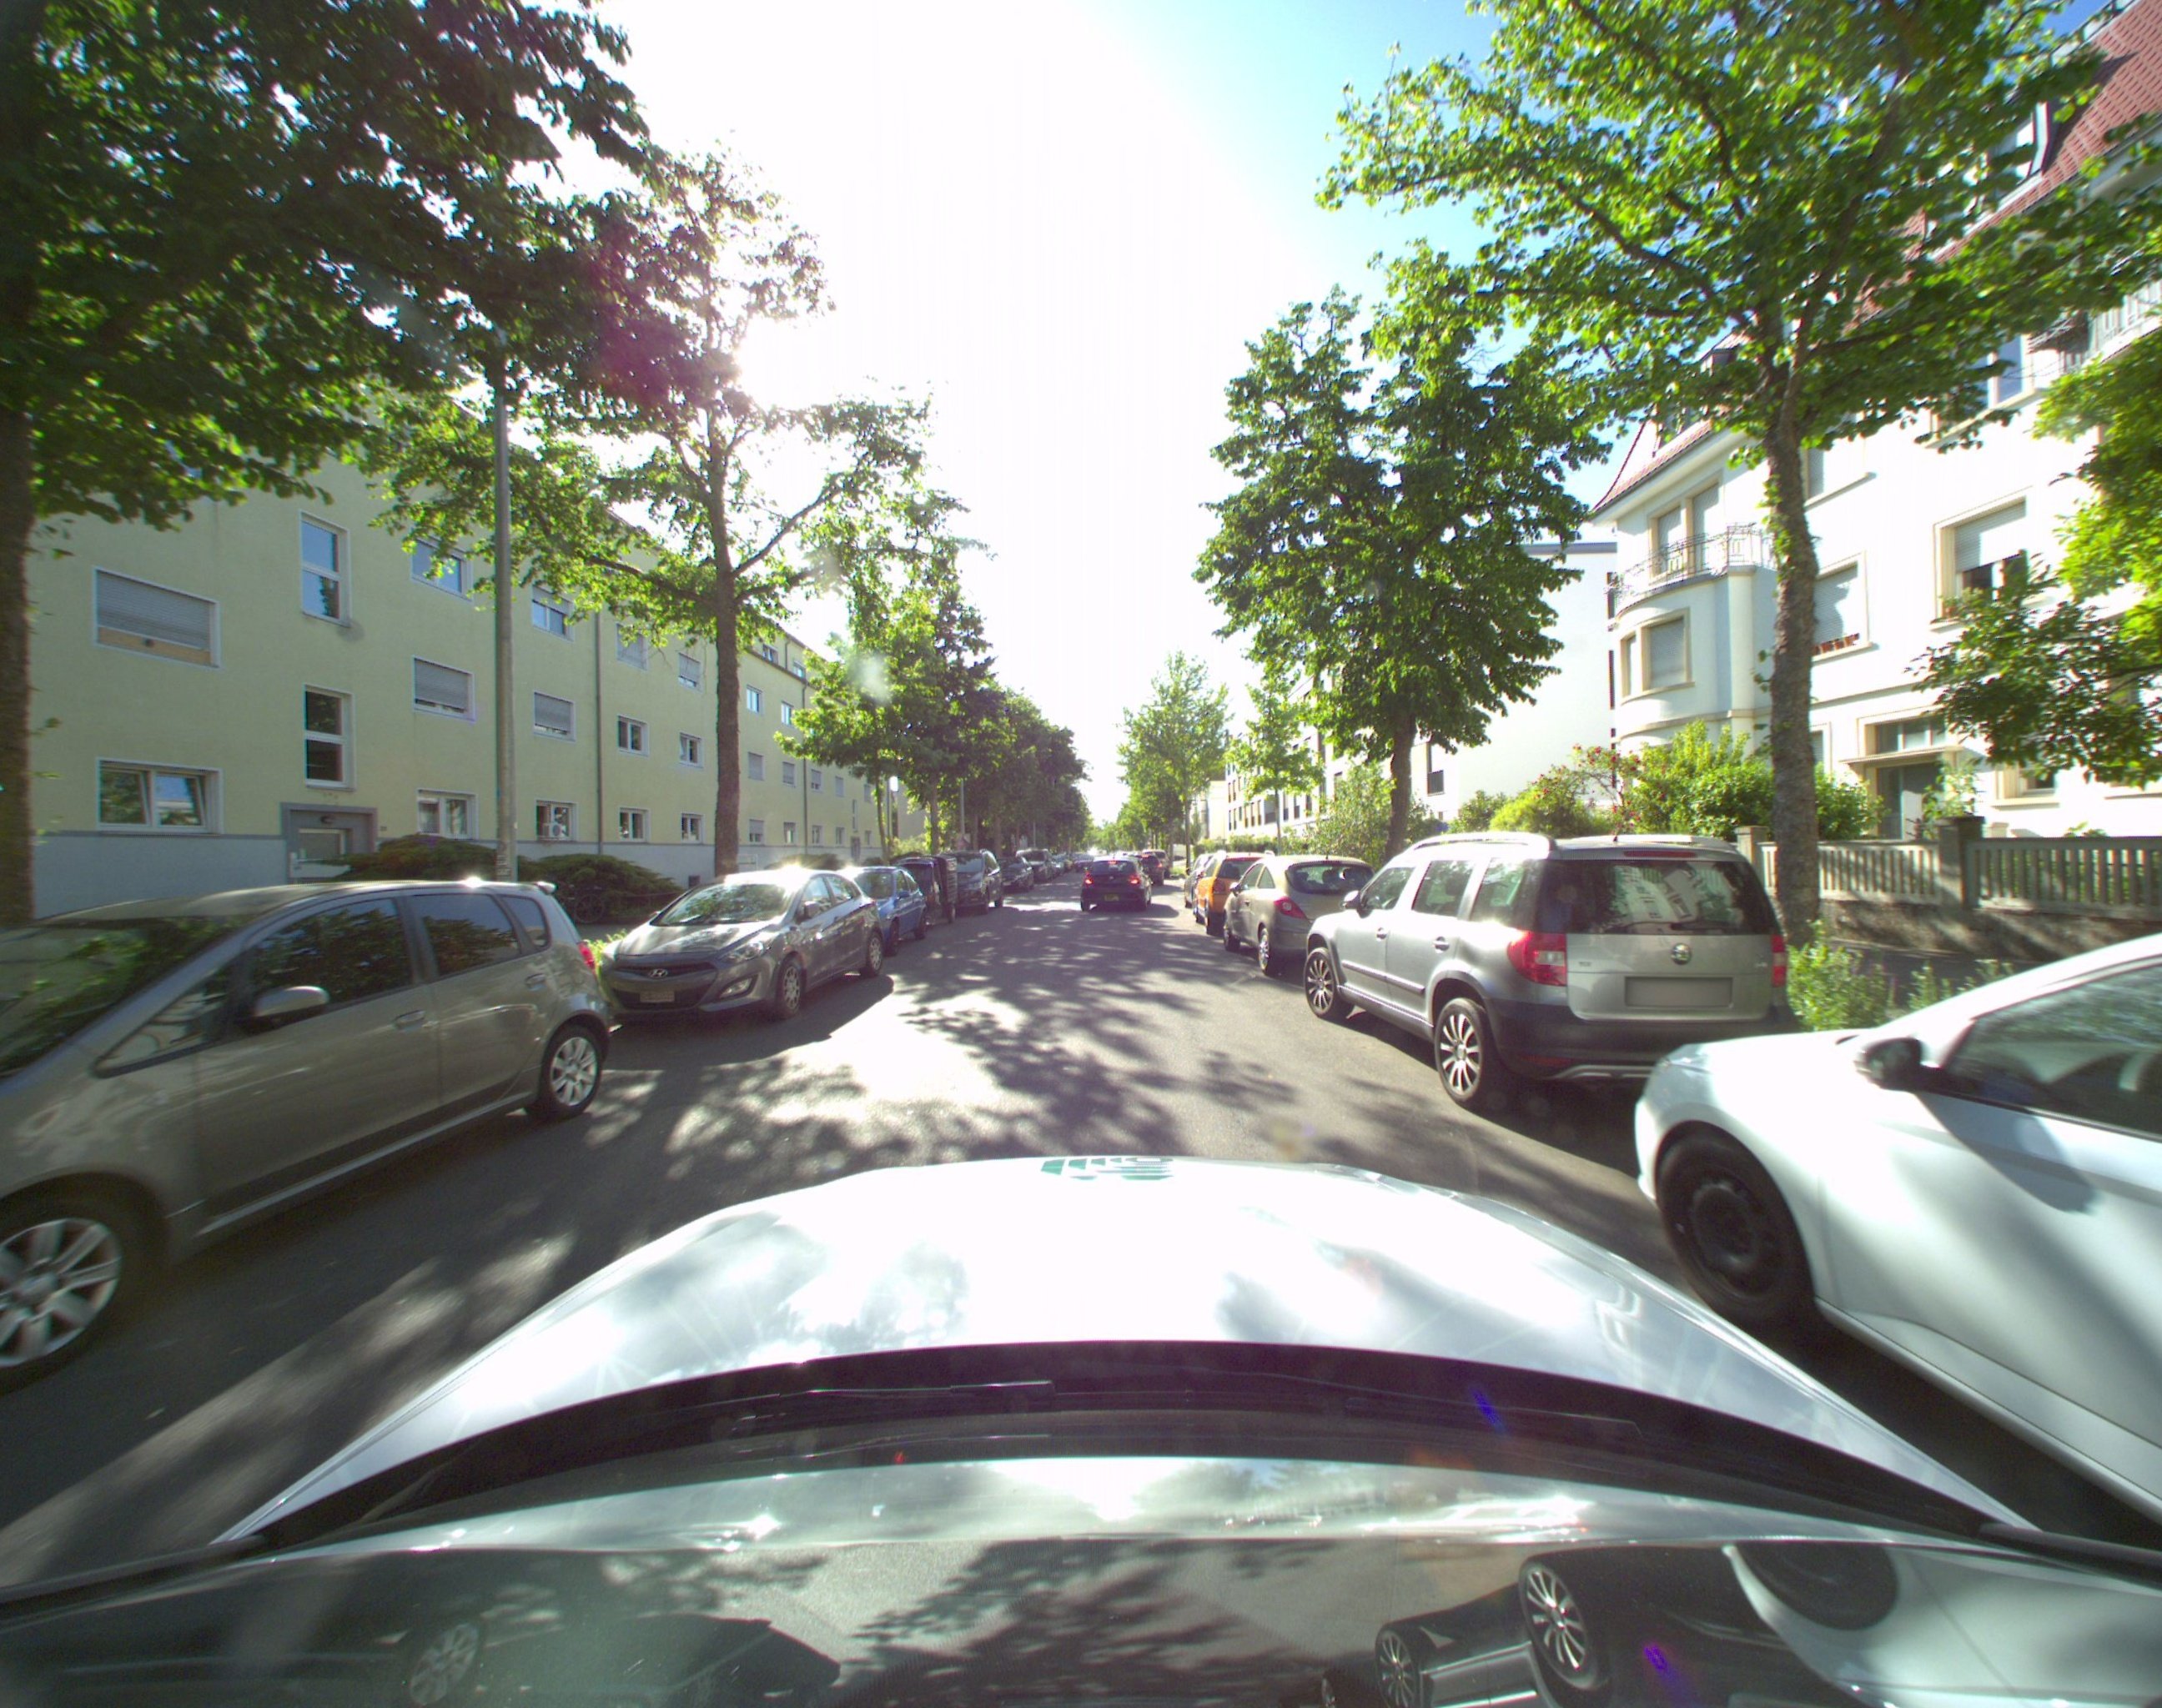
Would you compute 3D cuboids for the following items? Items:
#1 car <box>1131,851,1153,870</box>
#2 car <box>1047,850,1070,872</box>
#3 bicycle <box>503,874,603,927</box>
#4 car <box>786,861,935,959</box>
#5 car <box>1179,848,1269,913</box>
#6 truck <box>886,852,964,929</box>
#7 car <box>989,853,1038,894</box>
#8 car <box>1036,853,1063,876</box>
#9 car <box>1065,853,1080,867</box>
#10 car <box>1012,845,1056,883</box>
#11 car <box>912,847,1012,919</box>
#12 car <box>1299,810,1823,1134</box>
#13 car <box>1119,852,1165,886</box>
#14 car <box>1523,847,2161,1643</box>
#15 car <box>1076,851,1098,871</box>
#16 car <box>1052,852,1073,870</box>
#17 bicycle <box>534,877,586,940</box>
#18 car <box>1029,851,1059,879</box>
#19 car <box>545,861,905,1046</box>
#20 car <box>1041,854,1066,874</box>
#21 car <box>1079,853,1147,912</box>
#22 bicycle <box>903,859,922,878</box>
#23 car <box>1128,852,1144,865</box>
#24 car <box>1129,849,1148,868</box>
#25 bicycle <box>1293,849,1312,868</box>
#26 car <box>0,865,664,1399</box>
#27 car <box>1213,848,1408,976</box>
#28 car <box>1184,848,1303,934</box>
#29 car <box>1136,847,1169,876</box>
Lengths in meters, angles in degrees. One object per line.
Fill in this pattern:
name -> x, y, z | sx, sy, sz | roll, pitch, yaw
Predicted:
car -> 5.074, 0.492, 68.451 | 1.714, 1.528, 4.003 | 1, 0, 3
car -> -1.795, 0.528, 66.839 | 1.606, 1.679, 4.235 | -3, 0, 1
bicycle -> -11.656, 1.013, 18.019 | 1.834, 1.081, 0.486 | -2, 0, -2
car -> -3.687, 0.865, 14.251 | 1.515, 1.395, 3.727 | -2, 0, 0
car -> 3.560, 0.607, 20.941 | 1.694, 1.449, 4.084 | -2, 0, 2
truck -> -3.450, 0.761, 18.275 | 1.079, 1.577, 2.434 | -2, 0, 4
car -> -2.812, 0.768, 34.859 | 1.502, 1.548, 4.780 | -4, 0, 1
car -> -2.144, 0.719, 56.305 | 1.606, 1.427, 4.059 | -3, 0, 1
car -> -0.944, 0.676, 93.520 | 1.606, 1.392, 3.866 | -3, 0, 1
car -> -2.553, 0.504, 45.290 | 1.819, 1.904, 5.145 | -3, 0, 2
car -> -3.186, 0.717, 22.903 | 1.842, 1.680, 4.978 | -4, 0, 1
car -> 3.042, 0.607, 6.195 | 1.644, 1.655, 3.845 | -1, 0, -1
car -> 2.809, 0.672, 37.974 | 1.645, 1.425, 3.997 | -2, 0, -2
car -> 2.801, 0.727, 1.553 | 1.623, 1.425, 4.370 | -2, 0, 2
car -> 0.511, 0.528, 64.706 | 1.498, 1.426, 3.182 | -3, 0, 4
car -> -1.604, 0.595, 72.542 | 1.606, 1.452, 3.866 | -3, 0, 1
bicycle -> -9.759, 0.994, 15.304 | 0.487, 1.081, 1.831 | 1, -1, -22
car -> -2.287, 0.636, 50.996 | 1.607, 1.611, 4.228 | -3, 0, -1
car -> -3.601, 0.885, 9.403 | 1.784, 1.444, 4.692 | -3, 0, 3
car -> -2.042, 0.726, 61.400 | 1.606, 1.427, 3.726 | -3, 0, 1
car -> 0.843, 0.705, 22.038 | 1.643, 1.397, 3.412 | -2, 0, 1
bicycle -> -9.355, 0.778, 45.241 | 0.592, 0.991, 1.929 | -2, 0, 2
car -> 6.022, 0.474, 89.570 | 1.714, 1.379, 3.854 | 1, 0, 3
car -> 5.237, 0.420, 74.459 | 1.714, 1.641, 3.854 | 1, 0, 3
bicycle -> 12.717, 0.245, 46.749 | 0.544, 1.055, 1.691 | -2, 0, -1
car -> -3.974, 0.897, 3.792 | 1.614, 1.515, 4.272 | -4, 0, 3
car -> 2.974, 0.668, 11.319 | 1.644, 1.428, 3.612 | -2, 0, 0
car -> 3.117, 0.638, 16.381 | 1.630, 1.454, 4.101 | -2, 0, 2
car -> 4.204, 0.425, 48.327 | 1.840, 1.631, 4.414 | -1, 0, 3
